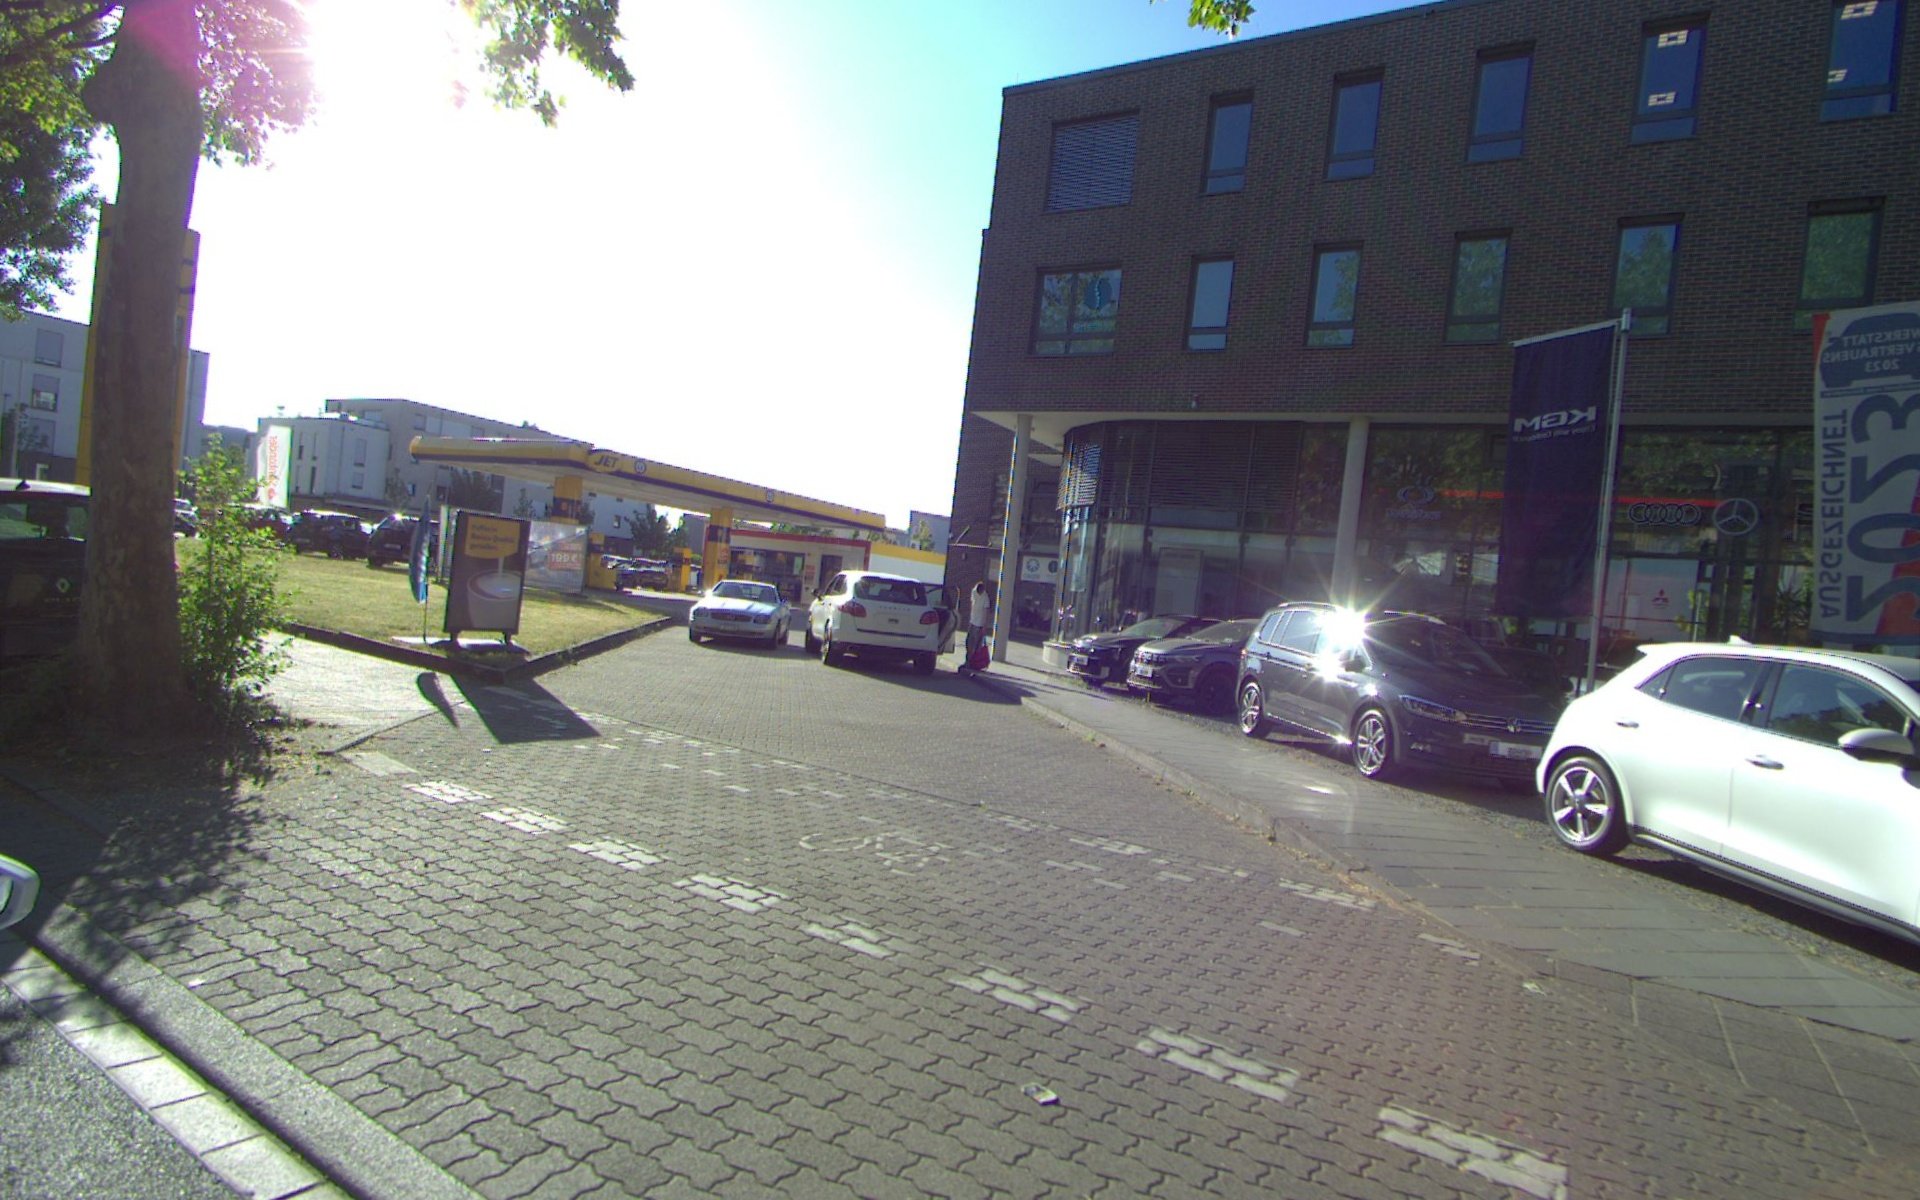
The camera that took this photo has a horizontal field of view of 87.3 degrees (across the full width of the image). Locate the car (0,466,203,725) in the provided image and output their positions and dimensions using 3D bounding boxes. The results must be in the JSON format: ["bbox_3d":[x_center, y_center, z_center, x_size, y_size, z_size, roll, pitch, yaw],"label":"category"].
[{"bbox_3d":[-7.367,-0.161,7.407,3.541,1.615,1.562,6,-1,31],"label":"car"}]

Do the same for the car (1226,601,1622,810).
[{"bbox_3d":[4.608,0.937,10.809,1.742,1.622,4.137,6,0,-9],"label":"car"}]

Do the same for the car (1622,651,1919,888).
[{"bbox_3d":[7.966,1.442,8.752,1.613,1.530,3.815,6,1,-3],"label":"car"}]

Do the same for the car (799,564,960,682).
[{"bbox_3d":[-1.622,0.334,18.605,2.128,1.741,3.986,6,1,-16],"label":"car"}]

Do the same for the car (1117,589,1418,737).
[{"bbox_3d":[4.713,0.944,15.736,3.931,1.774,1.862,6,1,-8],"label":"car"}]

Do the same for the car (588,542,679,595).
[{"bbox_3d":[-15.854,-1.535,48.801,3.933,2.039,1.995,7,1,31],"label":"car"}]

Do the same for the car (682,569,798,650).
[{"bbox_3d":[-4.377,0.219,20.467,1.659,1.339,3.564,6,-1,-3],"label":"car"}]

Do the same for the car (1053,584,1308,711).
[{"bbox_3d":[3.899,0.816,18.166,3.931,1.774,1.862,6,1,-9],"label":"car"}]

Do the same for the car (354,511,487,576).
[{"bbox_3d":[-16.565,-1.696,31.121,1.666,1.609,3.837,6,1,5],"label":"car"}]

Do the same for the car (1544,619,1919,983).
[{"bbox_3d":[5.393,1.093,5.504,1.716,1.599,3.812,6,1,-6],"label":"car"}]

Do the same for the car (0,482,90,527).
[{"bbox_3d":[-43.040,-4.457,46.374,1.777,1.548,3.993,5,-1,30],"label":"car"}]

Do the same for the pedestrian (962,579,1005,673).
[{"bbox_3d":[0.435,0.474,18.901,0.547,1.699,0.648,6,2,-9],"label":"pedestrian"}]

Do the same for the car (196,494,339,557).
[{"bbox_3d":[-24.395,-2.578,35.597,1.806,1.733,3.837,6,1,14],"label":"car"}]

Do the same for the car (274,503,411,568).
[{"bbox_3d":[-20.288,-2.072,33.252,1.806,1.734,3.837,6,1,5],"label":"car"}]
